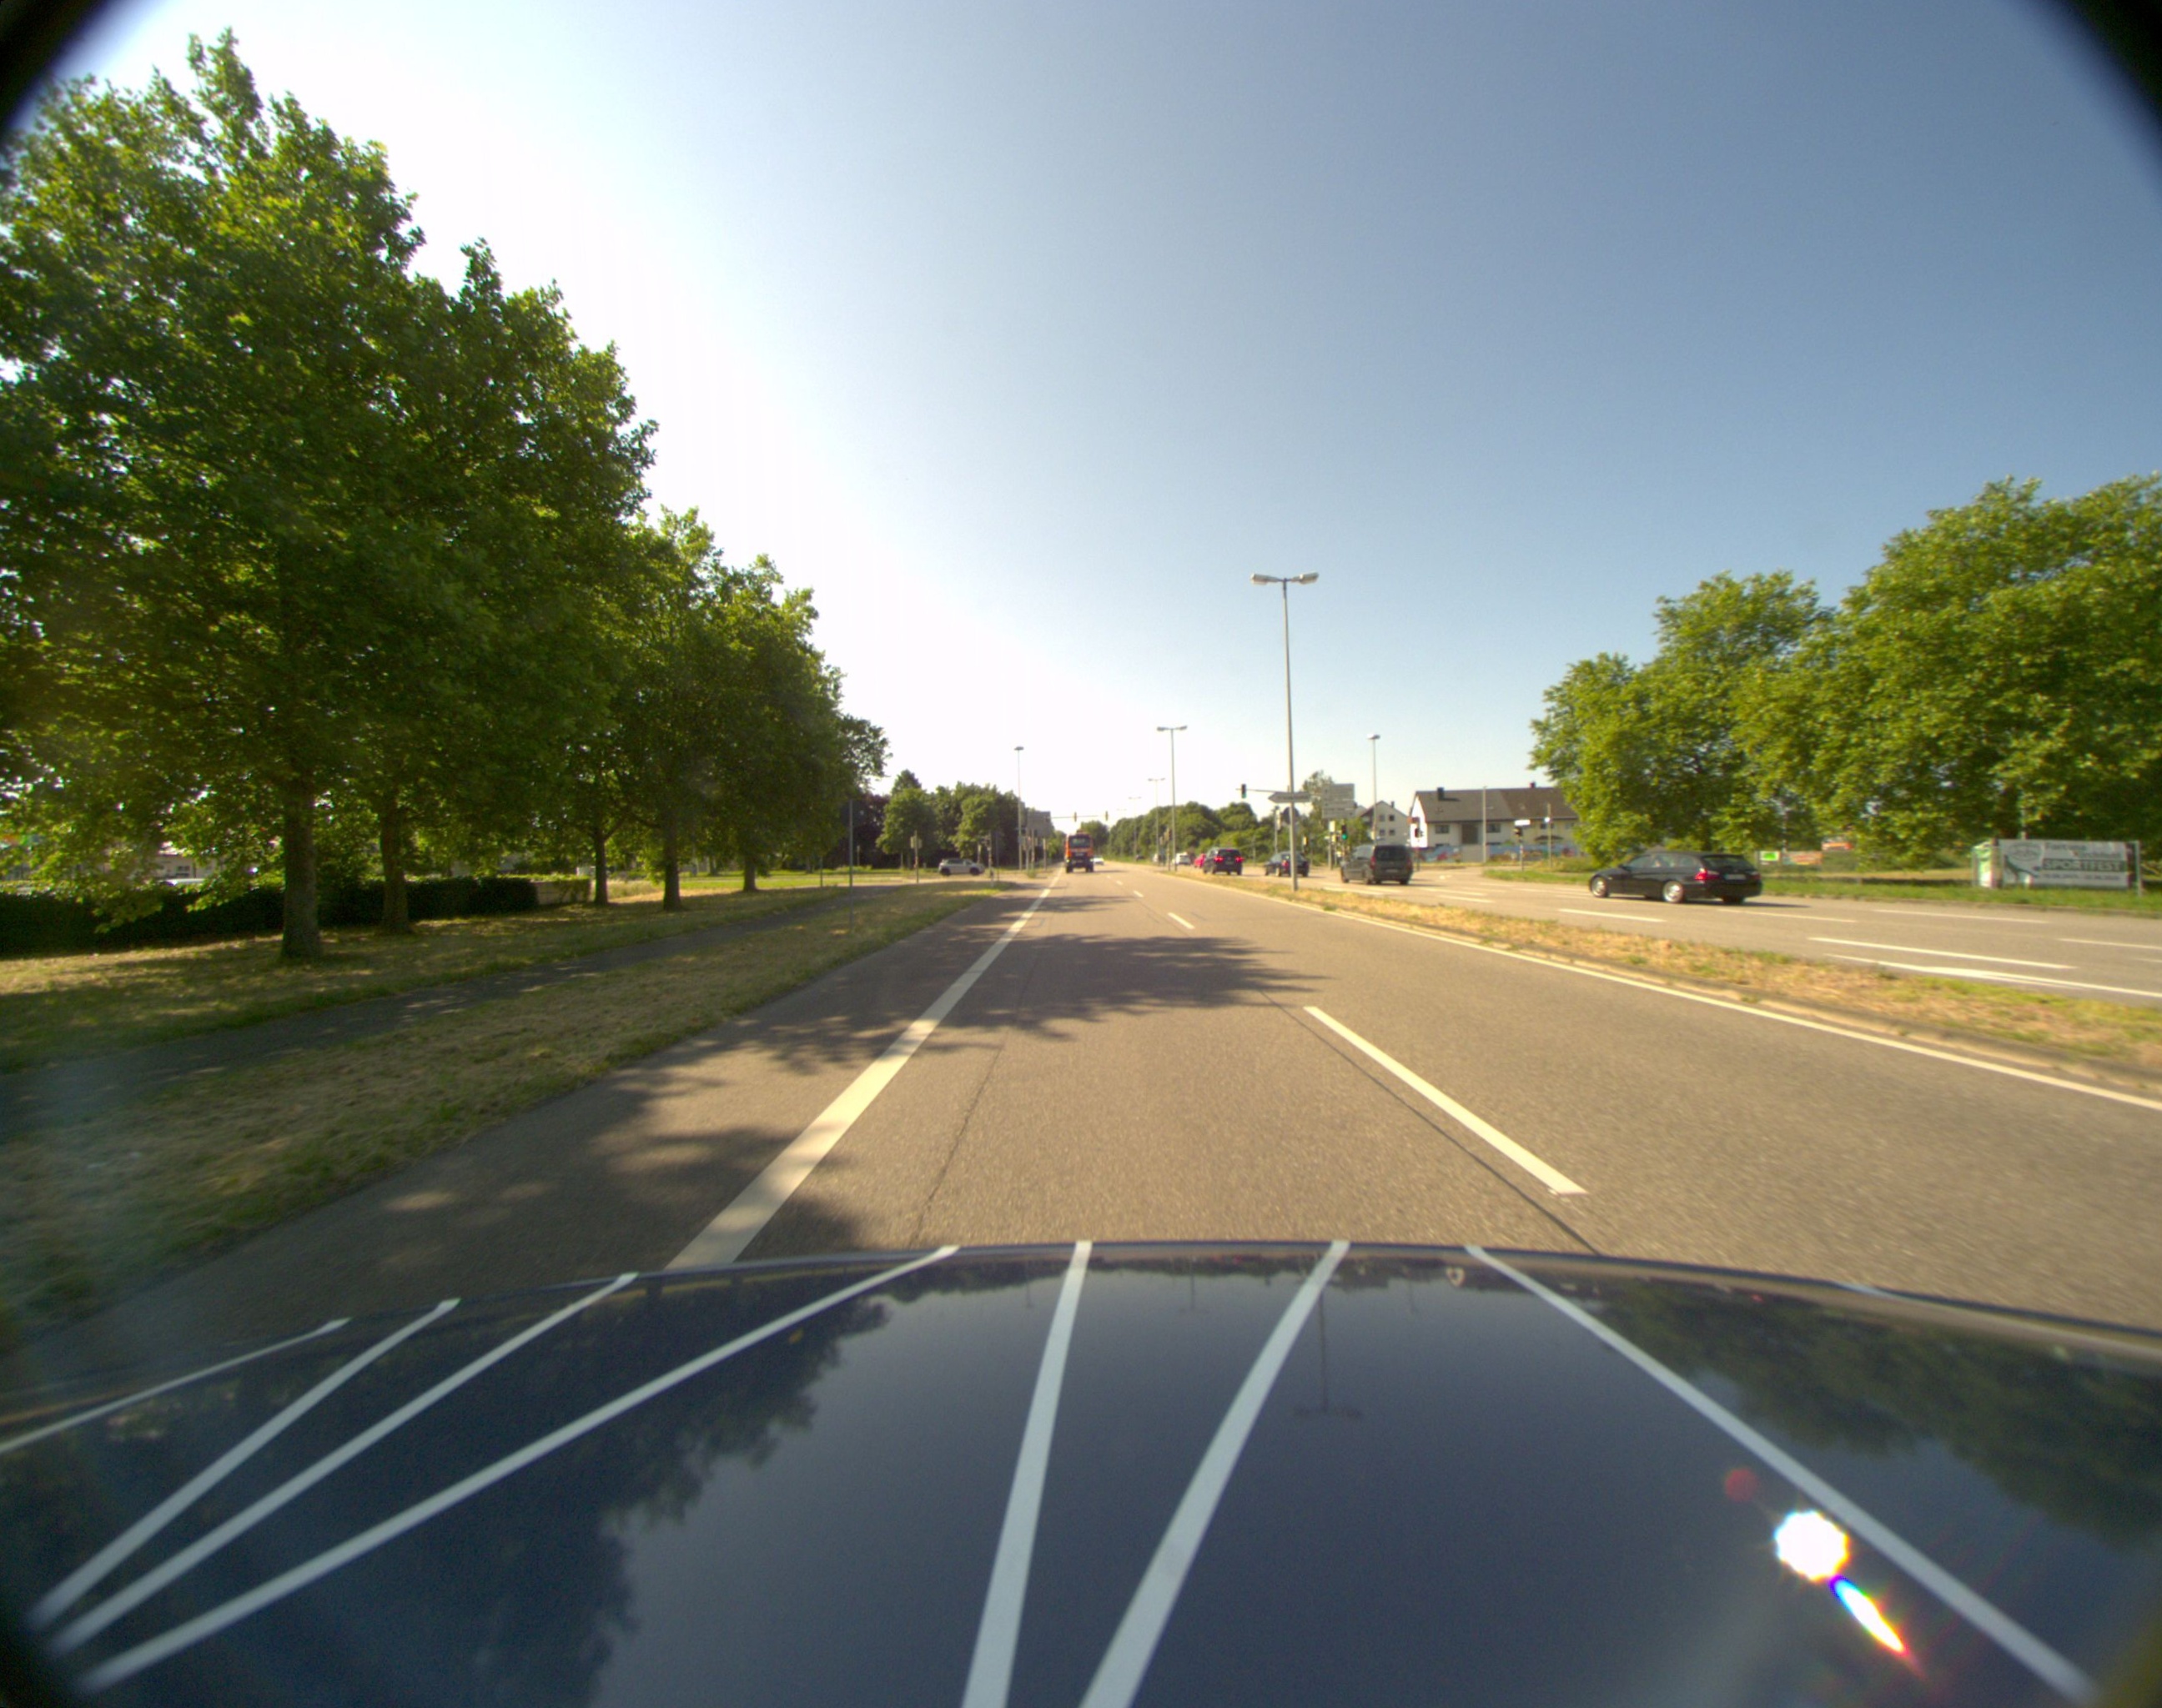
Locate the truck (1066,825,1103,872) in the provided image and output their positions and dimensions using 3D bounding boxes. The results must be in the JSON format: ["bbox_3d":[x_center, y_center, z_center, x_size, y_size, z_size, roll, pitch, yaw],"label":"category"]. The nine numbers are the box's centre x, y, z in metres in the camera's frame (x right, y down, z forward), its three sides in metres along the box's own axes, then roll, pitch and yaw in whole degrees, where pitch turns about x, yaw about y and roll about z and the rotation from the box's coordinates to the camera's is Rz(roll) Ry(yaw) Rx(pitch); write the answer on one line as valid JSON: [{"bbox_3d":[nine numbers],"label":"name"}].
[{"bbox_3d":[0.318,-0.540,67.731,2.940,3.853,6.590,-3,1,0],"label":"truck"}]

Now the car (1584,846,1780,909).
[{"bbox_3d":[16.227,0.559,20.880,1.867,1.536,4.405,0,0,-1],"label":"car"}]

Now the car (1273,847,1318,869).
[{"bbox_3d":[16.179,0.279,57.584,2.077,1.613,4.488,0,0,-1],"label":"car"}]

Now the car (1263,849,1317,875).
[{"bbox_3d":[12.435,0.452,45.489,1.986,1.449,4.449,0,0,0],"label":"car"}]

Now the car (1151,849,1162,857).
[{"bbox_3d":[14.779,-0.182,149.018,1.890,1.449,4.229,-1,0,2],"label":"car"}]

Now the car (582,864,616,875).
[{"bbox_3d":[-61.591,1.965,97.191,1.731,1.281,4.000,-1,0,1],"label":"car"}]

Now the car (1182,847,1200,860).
[{"bbox_3d":[15.637,-0.053,108.481,1.709,1.759,4.227,0,0,-4],"label":"car"}]

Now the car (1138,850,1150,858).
[{"bbox_3d":[11.812,-0.093,143.517,1.986,1.449,4.332,-1,0,1],"label":"car"}]

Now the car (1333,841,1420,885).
[{"bbox_3d":[12.856,0.342,33.373,1.986,1.769,4.488,-1,0,-1],"label":"car"}]

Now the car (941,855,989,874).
[{"bbox_3d":[-10.437,0.951,68.774,4.062,1.555,1.742,-1,1,-1],"label":"car"}]

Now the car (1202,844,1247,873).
[{"bbox_3d":[9.033,0.273,48.198,1.986,1.740,4.507,1,1,0],"label":"car"}]

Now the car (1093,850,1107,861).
[{"bbox_3d":[2.792,0.193,111.856,1.869,1.499,4.337,-3,1,2],"label":"car"}]

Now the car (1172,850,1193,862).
[{"bbox_3d":[12.146,0.219,91.085,1.833,1.378,3.842,0,0,-1],"label":"car"}]

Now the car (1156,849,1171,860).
[{"bbox_3d":[11.676,0.042,108.062,1.623,1.449,3.870,-1,0,-1],"label":"car"}]

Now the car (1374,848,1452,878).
[{"bbox_3d":[17.757,0.433,40.950,2.077,1.520,4.683,-1,0,-1],"label":"car"}]
